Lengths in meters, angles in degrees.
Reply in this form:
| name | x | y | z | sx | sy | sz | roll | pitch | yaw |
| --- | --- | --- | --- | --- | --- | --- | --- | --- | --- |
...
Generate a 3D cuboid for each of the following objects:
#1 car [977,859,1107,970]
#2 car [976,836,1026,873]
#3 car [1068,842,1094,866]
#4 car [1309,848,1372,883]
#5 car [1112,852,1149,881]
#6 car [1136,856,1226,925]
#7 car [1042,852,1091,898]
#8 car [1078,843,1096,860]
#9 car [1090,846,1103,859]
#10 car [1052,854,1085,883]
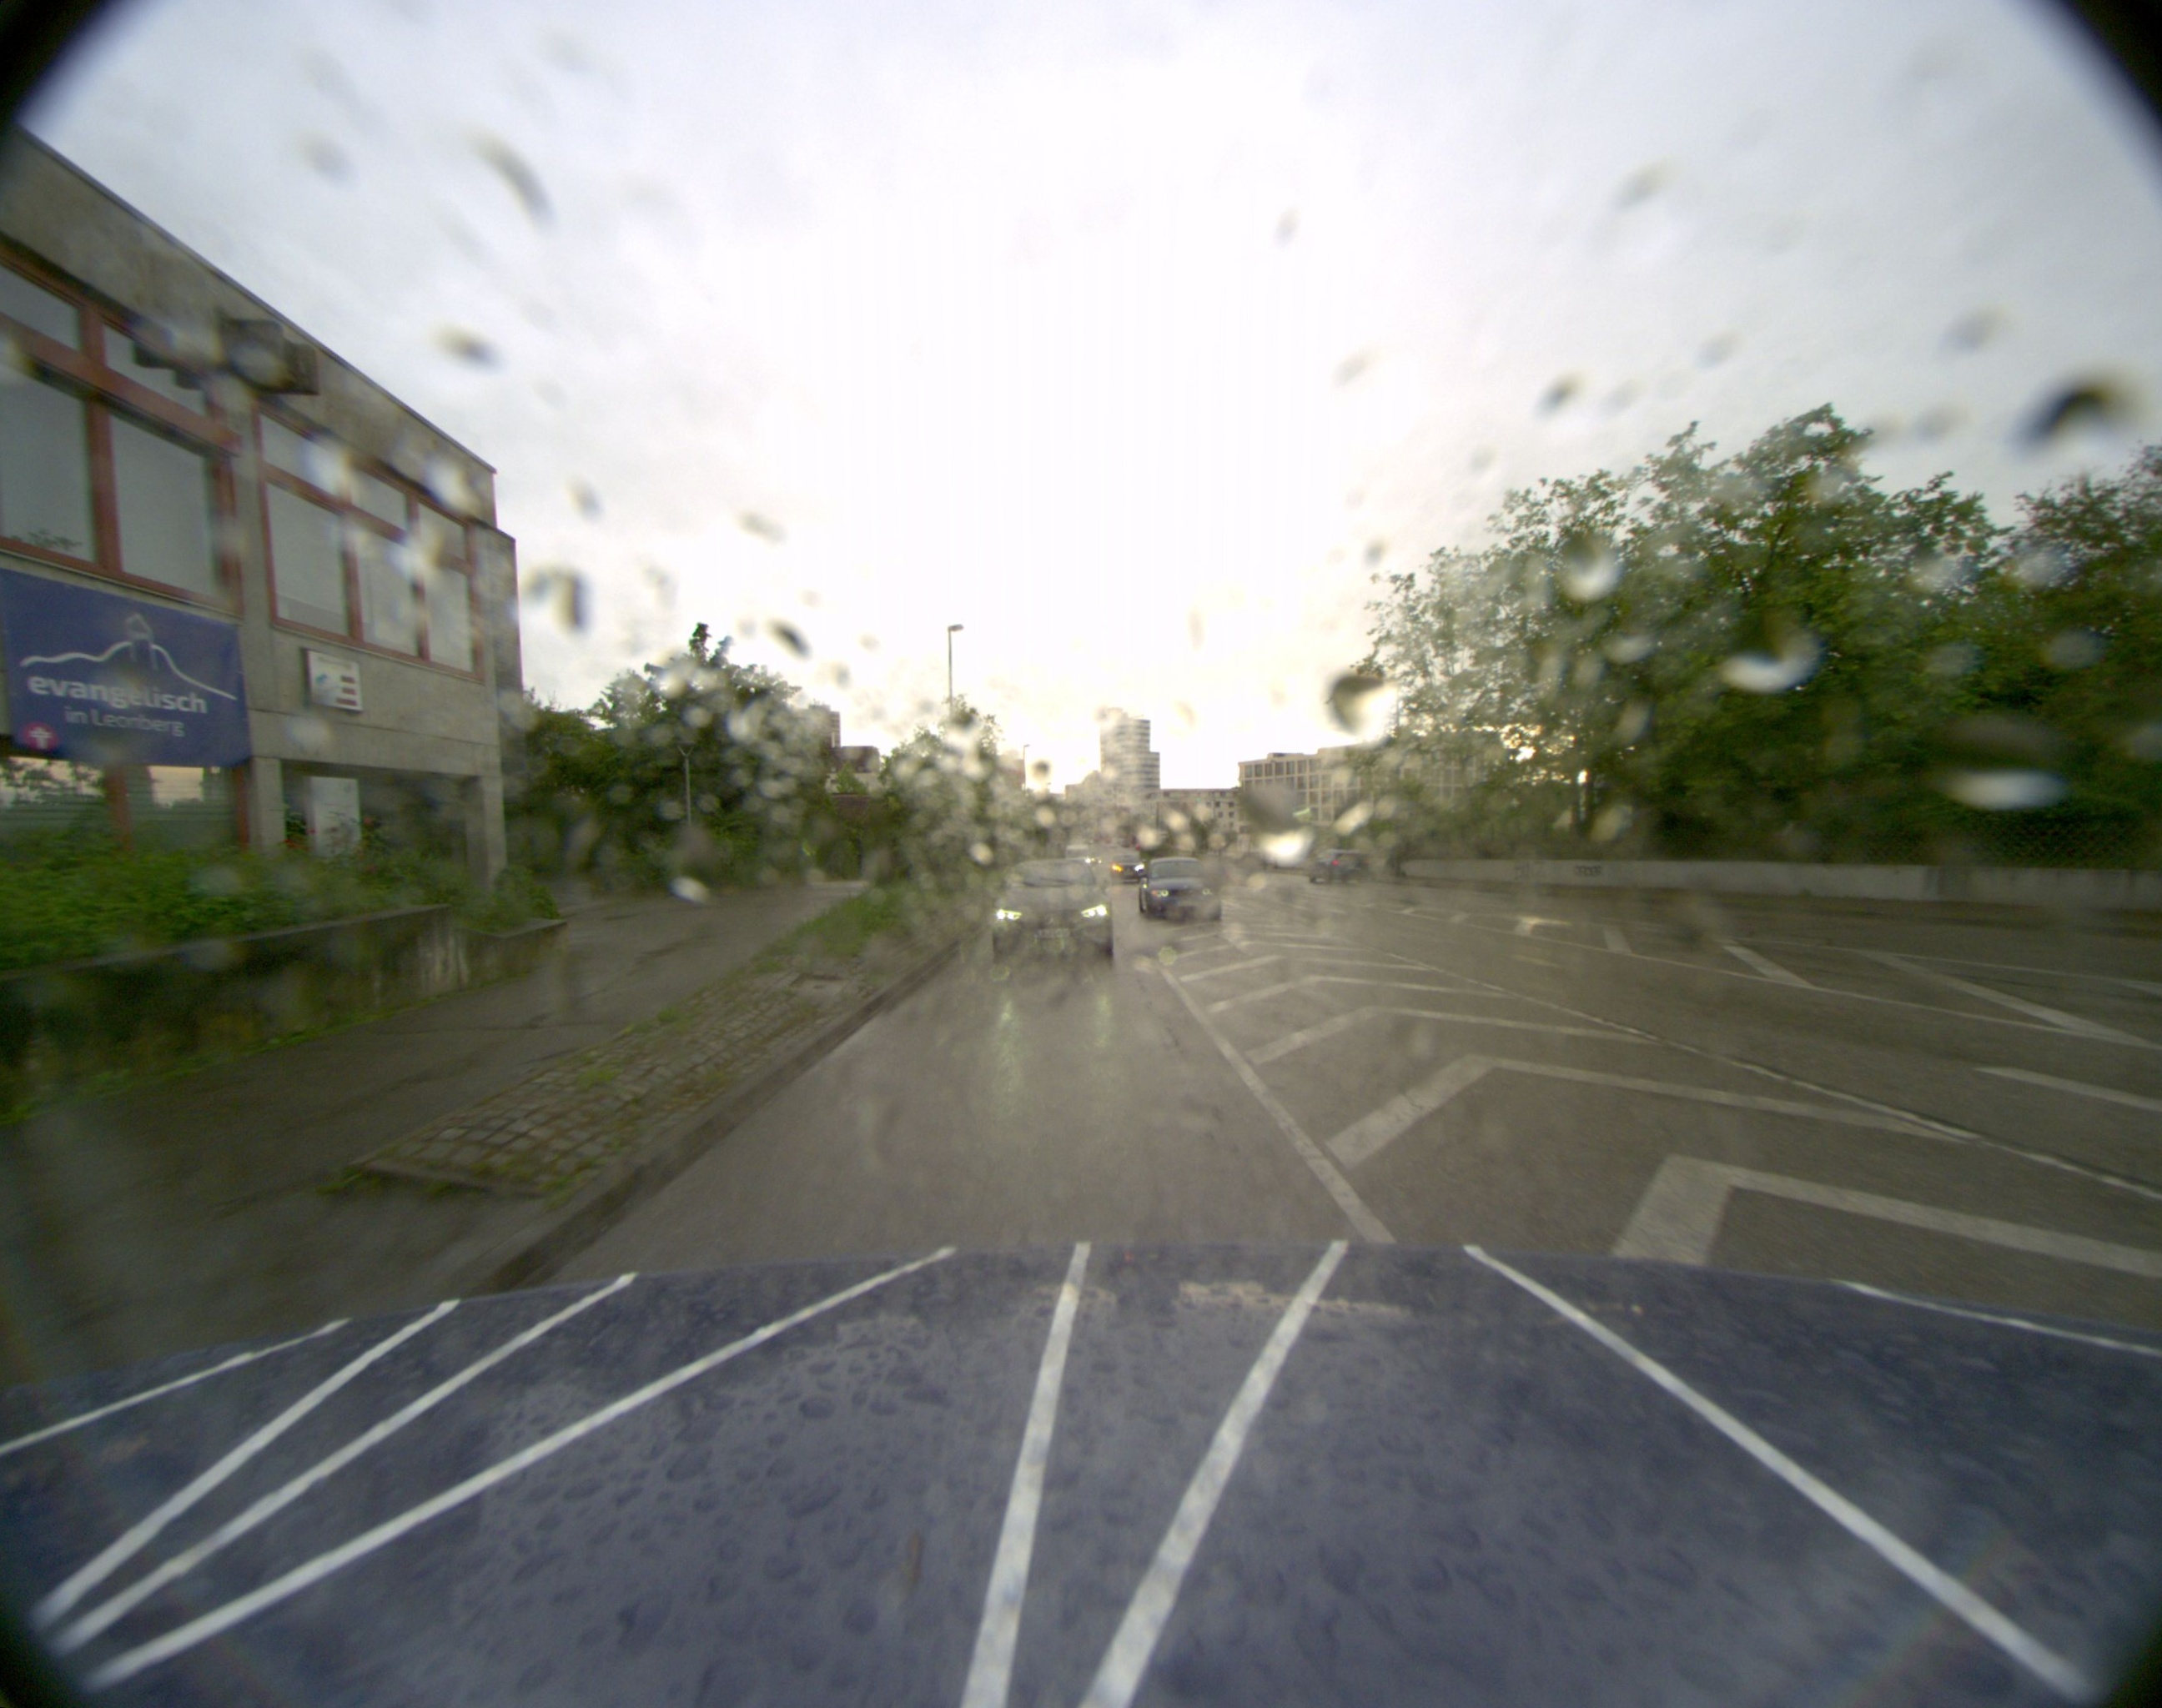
| name | x | y | z | sx | sy | sz | roll | pitch | yaw |
| --- | --- | --- | --- | --- | --- | --- | --- | --- | --- |
| car | -0.493 | 0.909 | 13.547 | 1.838 | 1.505 | 4.848 | -2 | 0 | 2 |
| car | -4.222 | 0.009 | 40.515 | 2.048 | 1.809 | 3.968 | -2 | 1 | 2 |
| car | 0.003 | 0.042 | 63.933 | 2.030 | 1.925 | 4.945 | -2 | -1 | 0 |
| car | 12.434 | 0.508 | 36.617 | 1.818 | 1.506 | 4.000 | -1 | 1 | 3 |
| car | 2.678 | 0.677 | 41.940 | 1.900 | 1.487 | 4.946 | -1 | 0 | 3 |
| car | 2.397 | 0.820 | 19.308 | 1.790 | 1.339 | 4.944 | -2 | 1 | 3 |
| car | -0.692 | 0.864 | 34.017 | 1.901 | 1.649 | 4.942 | -5 | 2 | -2 |
| car | 0.699 | -0.259 | 88.504 | 2.030 | 1.925 | 4.945 | -2 | -1 | 0 |
| car | 2.504 | -0.260 | 123.170 | 2.030 | 1.925 | 4.945 | -2 | -1 | 0 |
| car | -0.753 | 0.920 | 49.538 | 1.900 | 1.713 | 4.464 | -2 | -1 | 2 |
